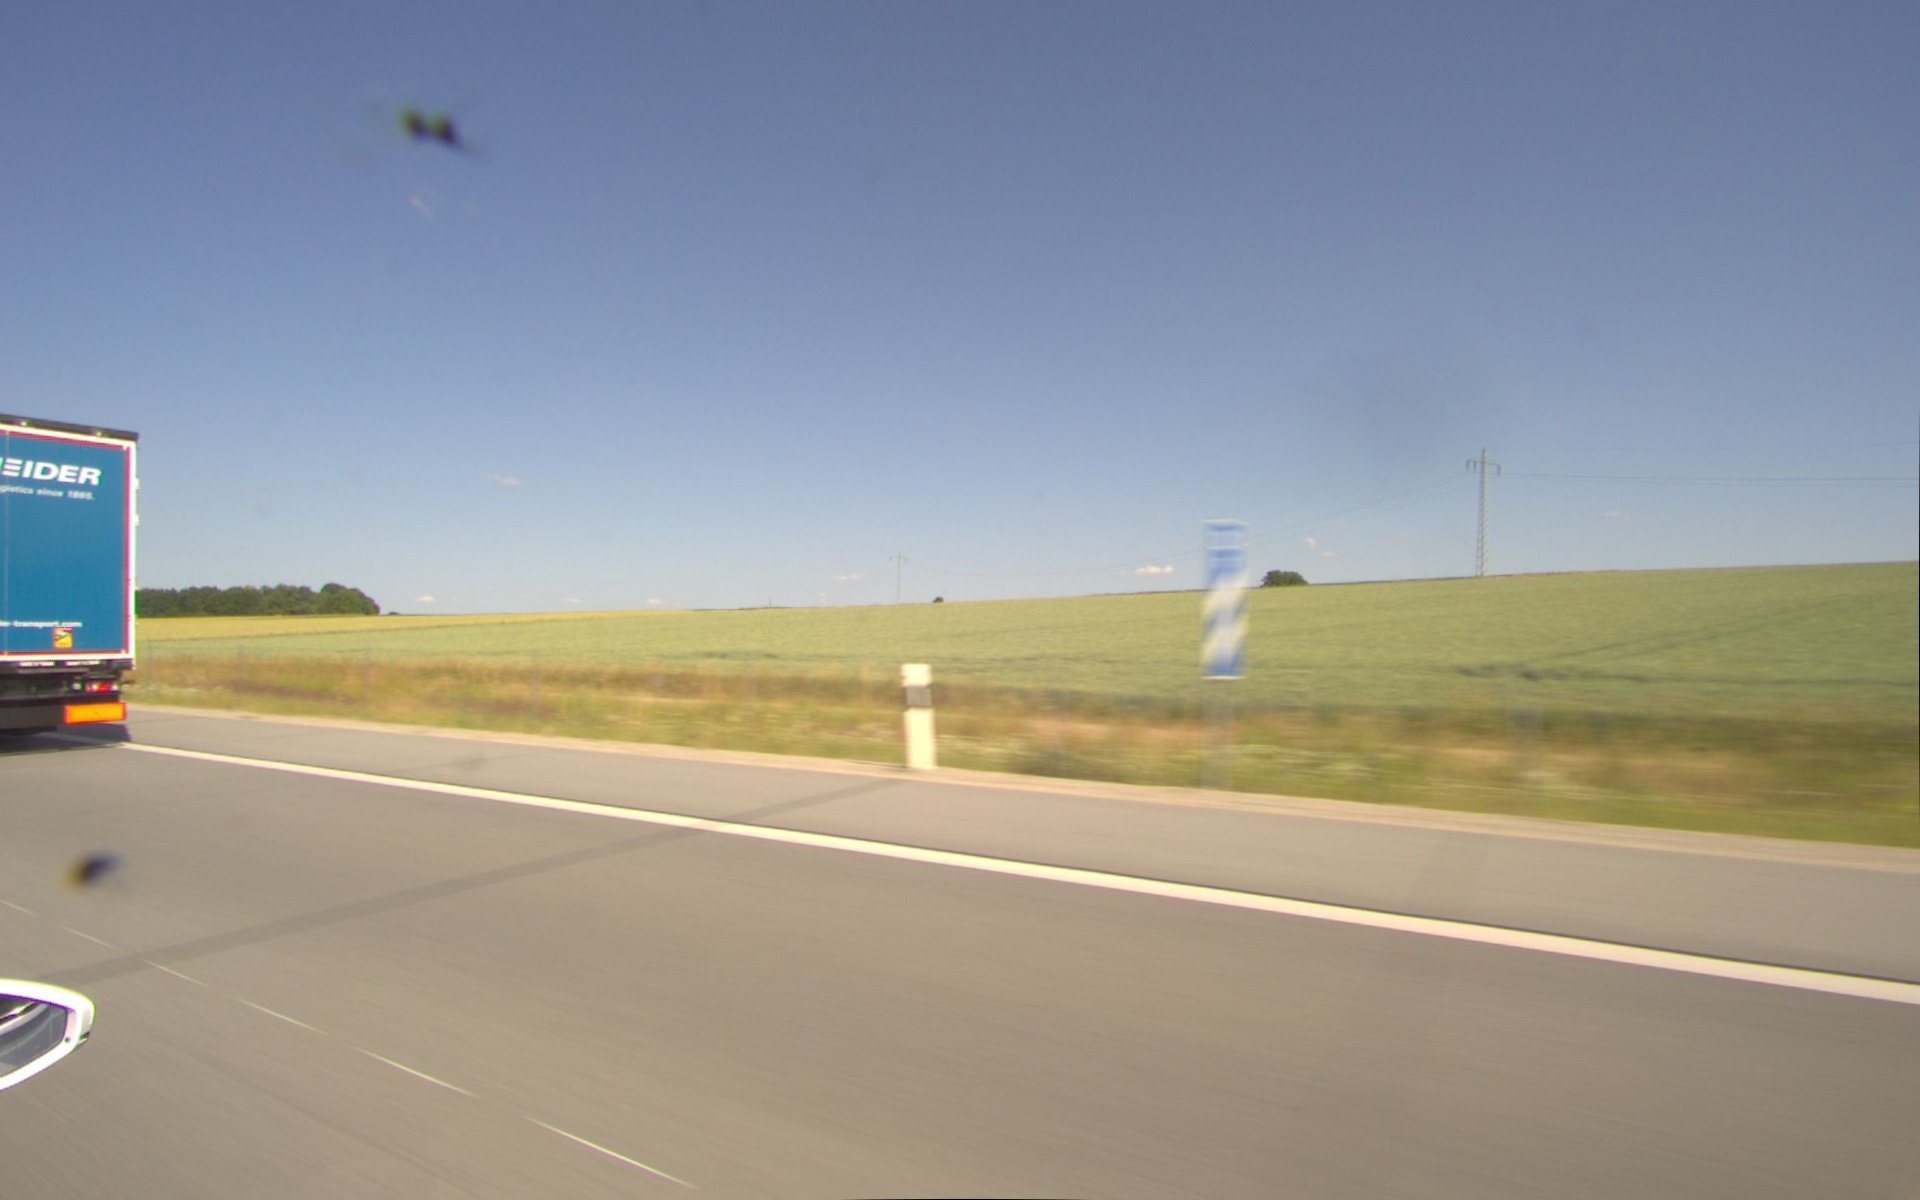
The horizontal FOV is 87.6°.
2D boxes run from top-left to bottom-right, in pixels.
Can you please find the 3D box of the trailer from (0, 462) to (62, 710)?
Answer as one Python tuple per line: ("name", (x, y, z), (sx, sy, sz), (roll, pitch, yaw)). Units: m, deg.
("trailer", (-17.449, -0.273, 15.682), (3.146, 4.351, 15.354), (-1, 0, -35))
